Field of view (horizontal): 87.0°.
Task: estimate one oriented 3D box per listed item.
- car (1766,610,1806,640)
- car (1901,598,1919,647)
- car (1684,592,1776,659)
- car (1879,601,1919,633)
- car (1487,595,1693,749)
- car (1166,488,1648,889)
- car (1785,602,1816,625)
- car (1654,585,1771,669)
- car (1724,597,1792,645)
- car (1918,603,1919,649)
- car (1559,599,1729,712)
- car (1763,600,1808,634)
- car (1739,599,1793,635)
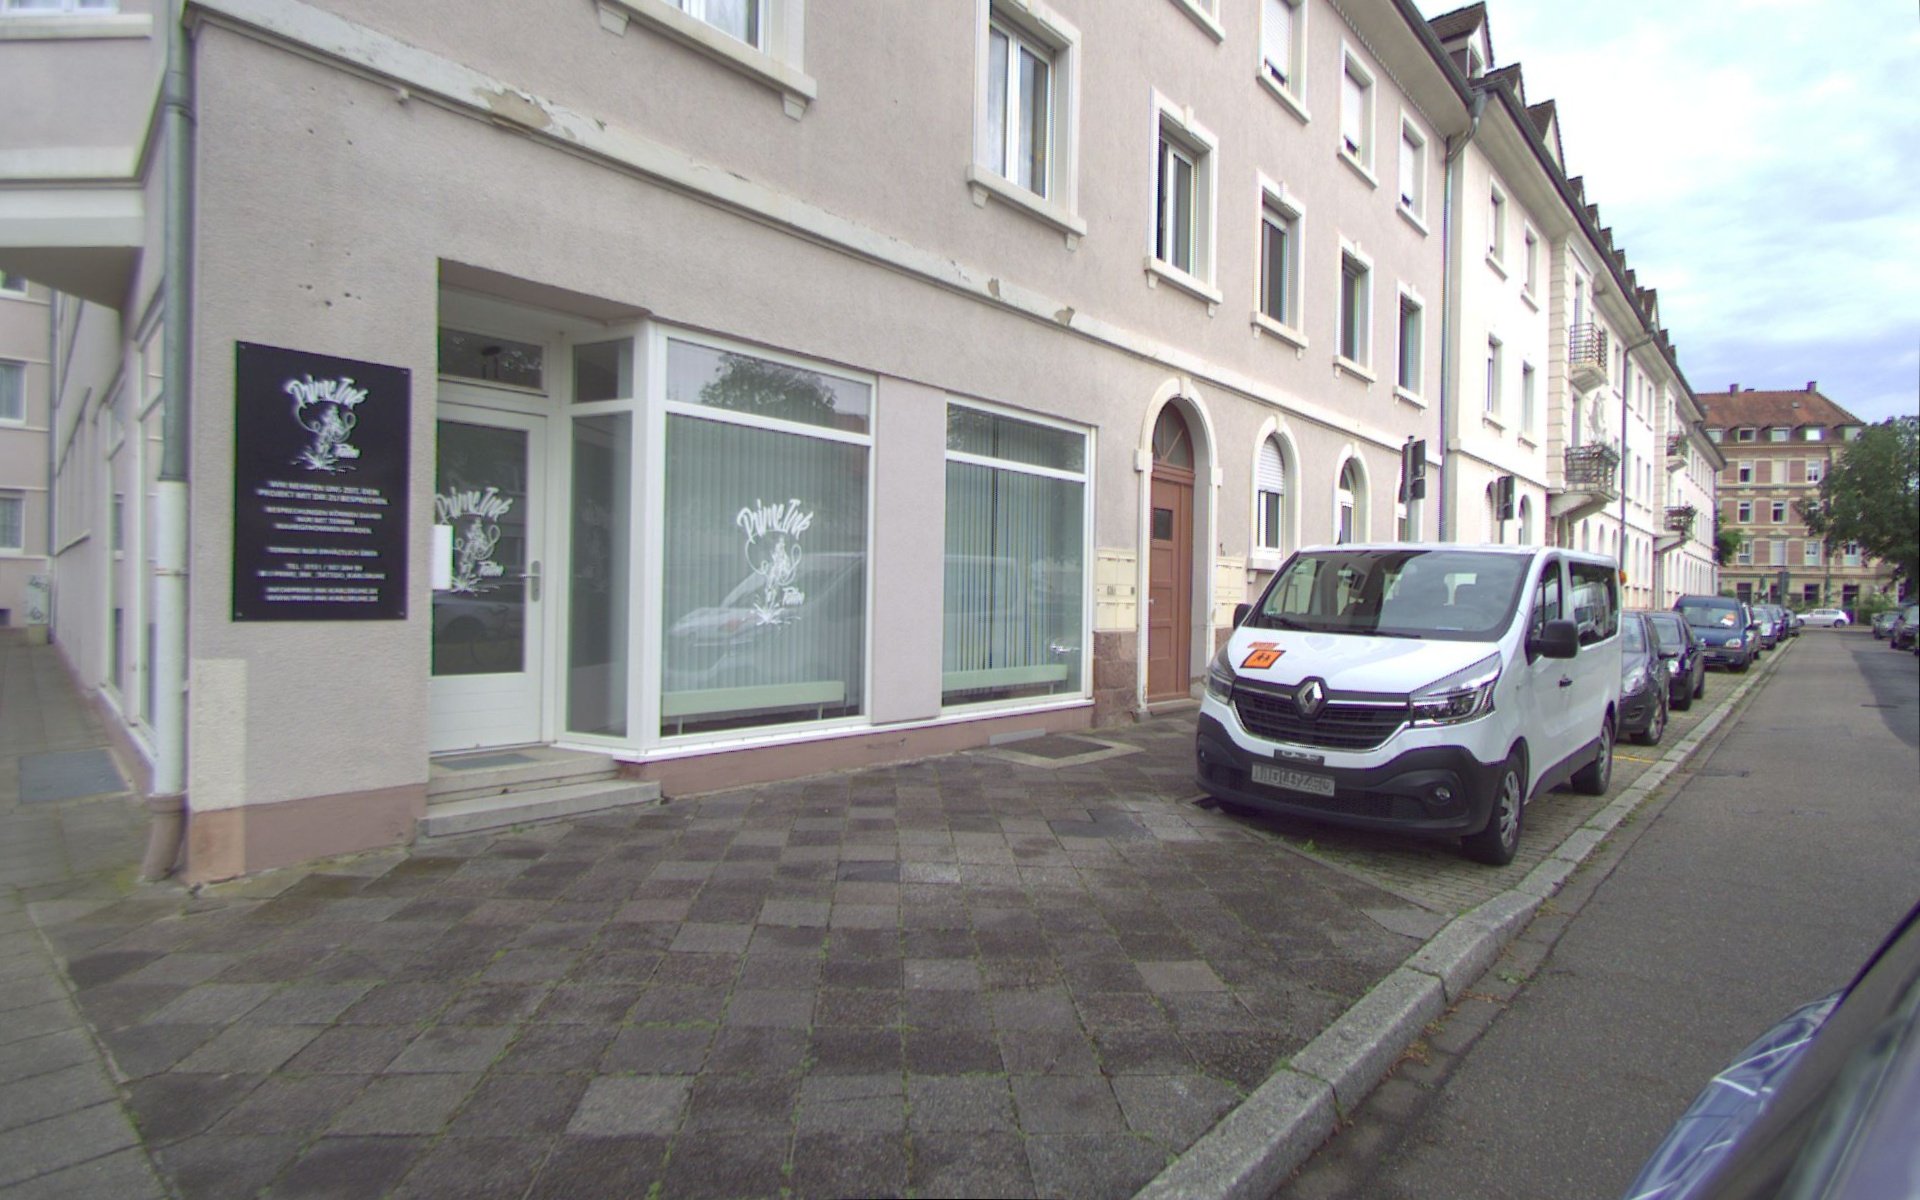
[{"bbox_3d":[44.209,1.328,54.140,1.451,1.413,3.950,5,3,41],"label":"car"},{"bbox_3d":[36.276,0.896,37.406,1.778,1.728,4.254,5,3,39],"label":"car"},{"bbox_3d":[22.248,0.706,29.189,1.770,1.657,4.066,5,3,41],"label":"car"},{"bbox_3d":[48.678,0.854,52.182,1.636,1.599,4.149,1,0,39],"label":"car"},{"bbox_3d":[7.788,0.756,12.345,1.685,1.472,3.847,4,2,38],"label":"car"},{"bbox_3d":[3.647,0.448,7.592,1.877,2.021,4.937,3,1,41],"label":"car"},{"bbox_3d":[57.428,0.937,69.135,1.451,1.413,3.950,5,3,41],"label":"car"},{"bbox_3d":[18.579,0.626,24.922,1.937,1.807,4.123,4,2,41],"label":"car"},{"bbox_3d":[28.977,0.749,36.702,1.681,1.532,3.895,6,3,41],"label":"car"},{"bbox_3d":[31.538,0.868,31.877,1.636,1.533,4.092,1,0,39],"label":"car"},{"bbox_3d":[11.135,0.805,16.344,1.687,1.472,4.476,4,2,41],"label":"car"},{"bbox_3d":[40.976,0.802,50.192,1.604,1.605,3.950,1,0,41],"label":"car"},{"bbox_3d":[35.862,0.757,45.000,1.605,1.417,3.950,6,3,41],"label":"car"}]
